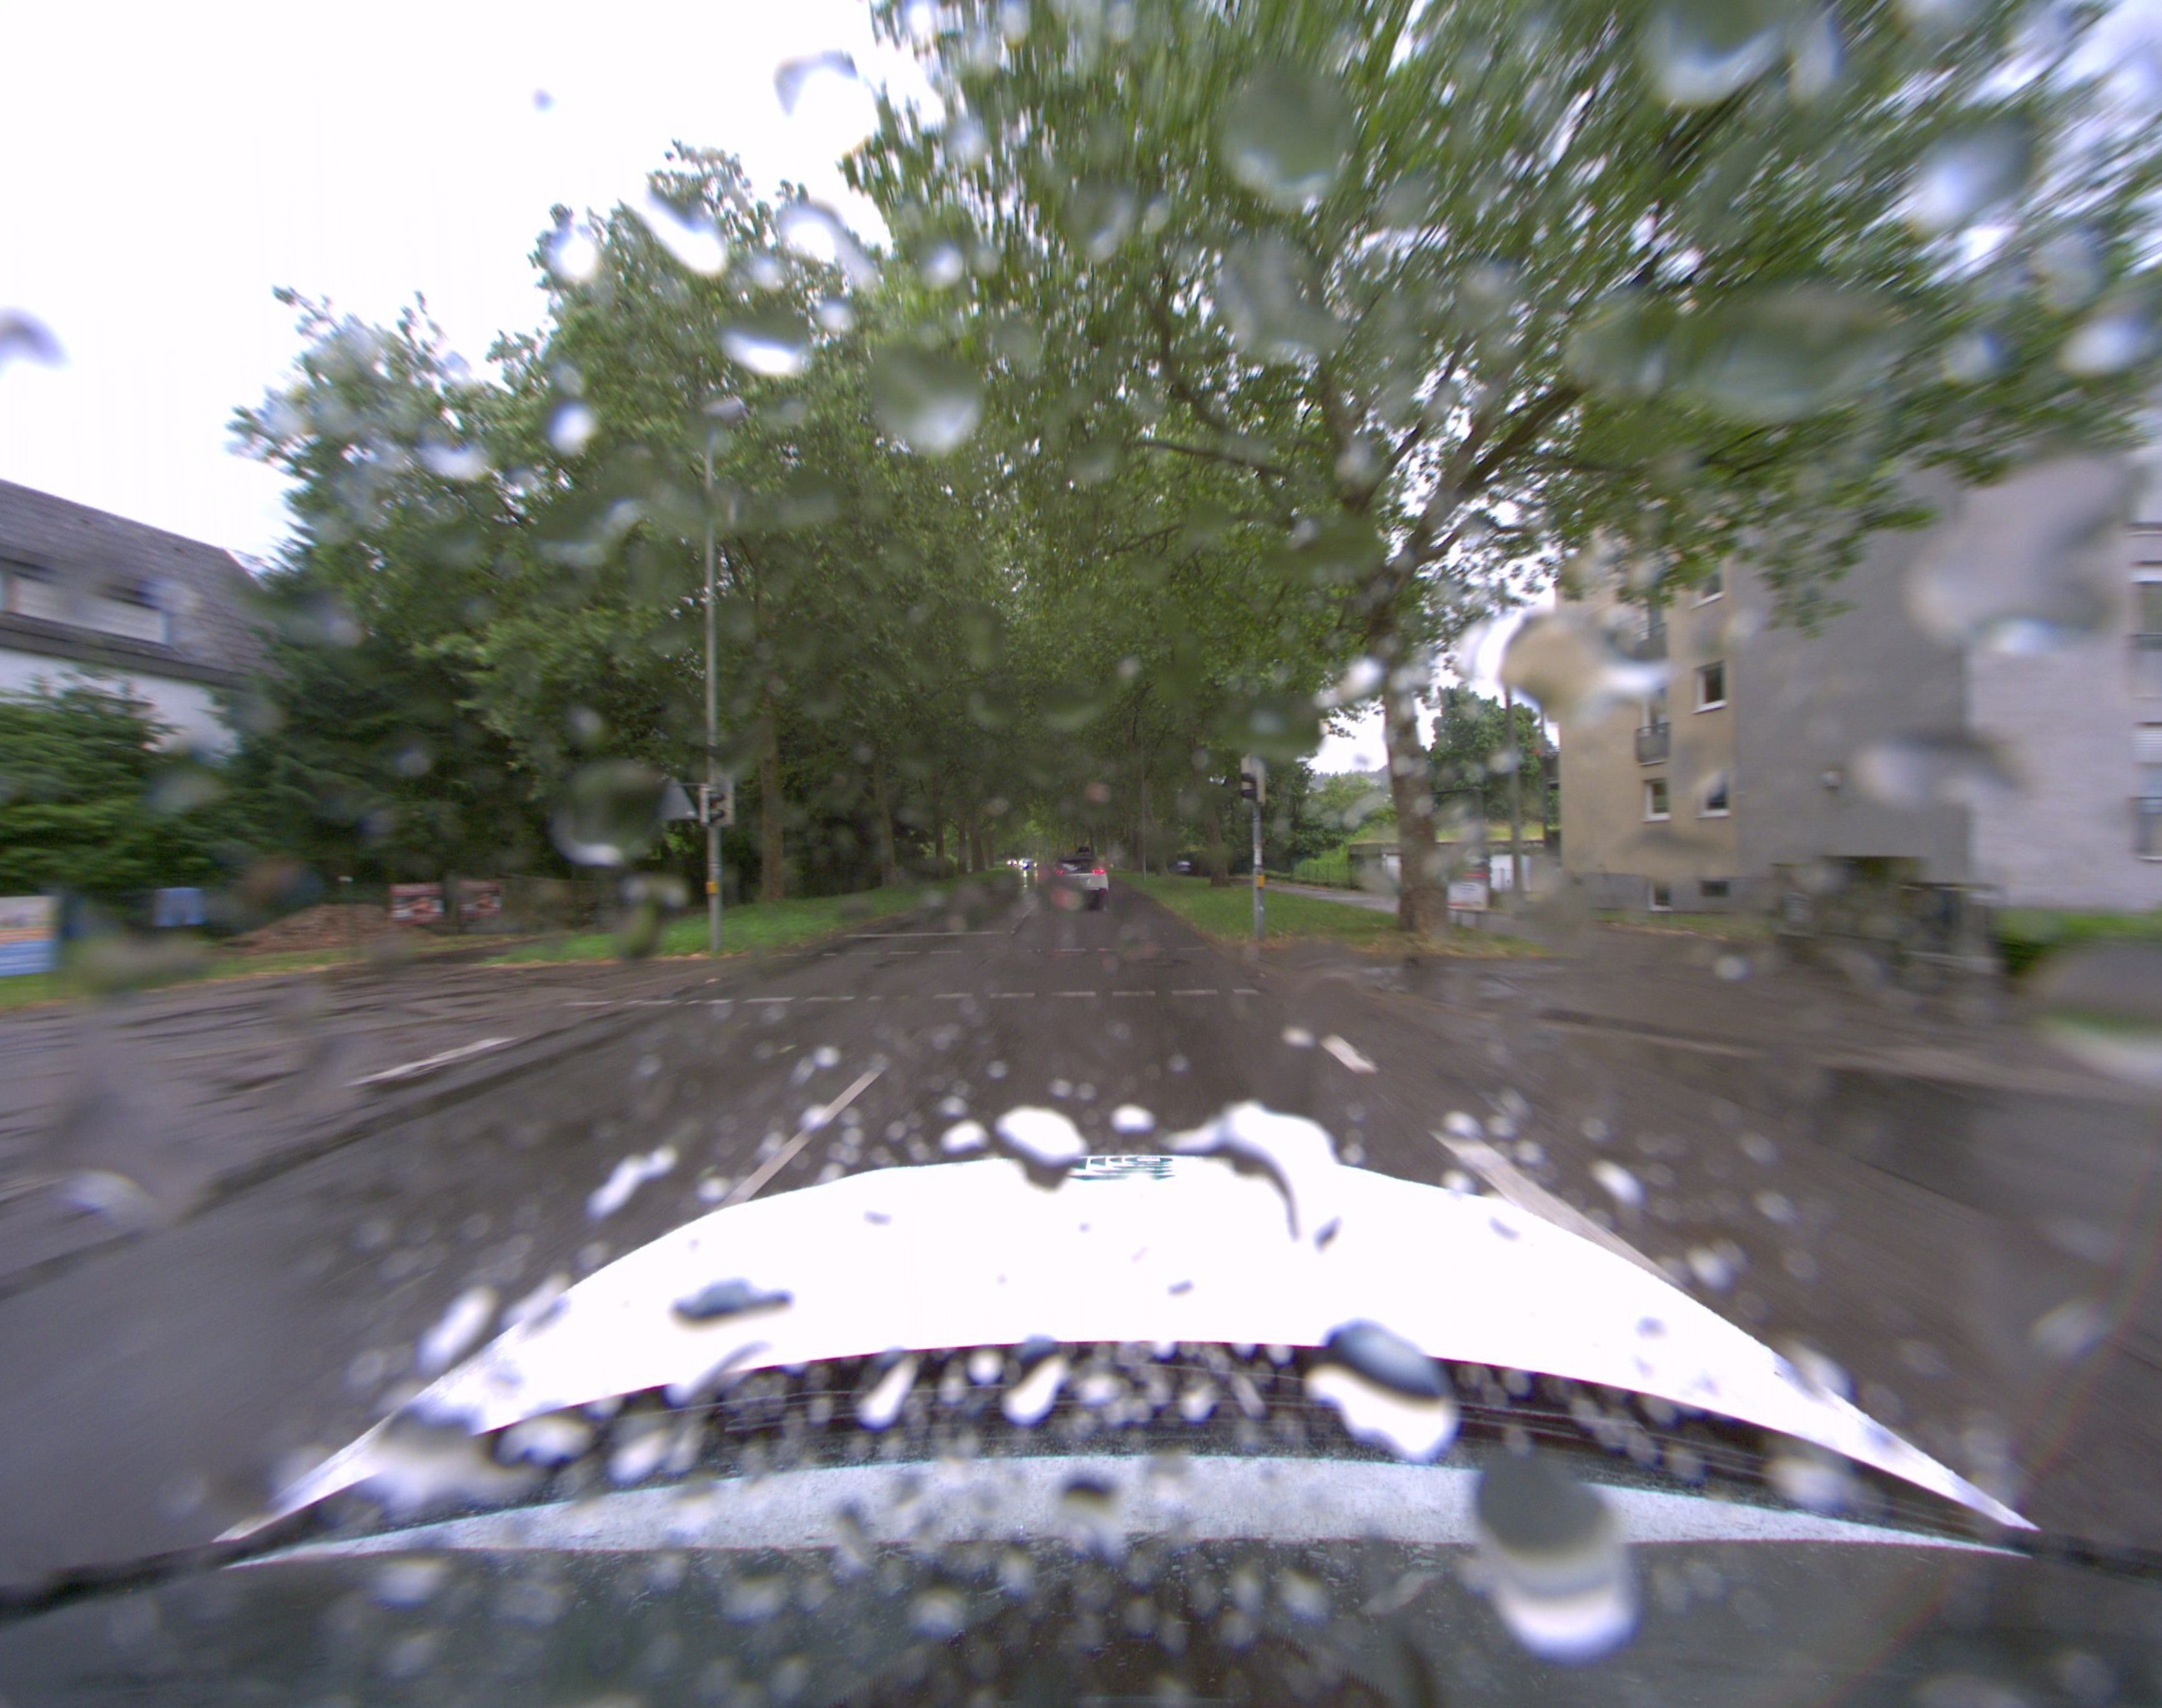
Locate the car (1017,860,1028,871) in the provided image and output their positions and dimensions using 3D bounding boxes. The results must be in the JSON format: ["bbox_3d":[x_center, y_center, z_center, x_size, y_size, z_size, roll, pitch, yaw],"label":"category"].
[{"bbox_3d":[-10.563,2.051,146.342,1.736,2.014,3.662,-1,-1,-1],"label":"car"}]

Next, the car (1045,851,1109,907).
[{"bbox_3d":[-0.191,0.714,24.827,1.776,1.536,4.053,-1,-1,-2],"label":"car"}]

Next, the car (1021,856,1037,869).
[{"bbox_3d":[-6.803,1.133,106.471,1.867,1.677,3.708,-1,-1,0],"label":"car"}]

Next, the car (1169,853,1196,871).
[{"bbox_3d":[9.047,0.739,73.014,1.899,1.510,3.931,-1,-1,0],"label":"car"}]
